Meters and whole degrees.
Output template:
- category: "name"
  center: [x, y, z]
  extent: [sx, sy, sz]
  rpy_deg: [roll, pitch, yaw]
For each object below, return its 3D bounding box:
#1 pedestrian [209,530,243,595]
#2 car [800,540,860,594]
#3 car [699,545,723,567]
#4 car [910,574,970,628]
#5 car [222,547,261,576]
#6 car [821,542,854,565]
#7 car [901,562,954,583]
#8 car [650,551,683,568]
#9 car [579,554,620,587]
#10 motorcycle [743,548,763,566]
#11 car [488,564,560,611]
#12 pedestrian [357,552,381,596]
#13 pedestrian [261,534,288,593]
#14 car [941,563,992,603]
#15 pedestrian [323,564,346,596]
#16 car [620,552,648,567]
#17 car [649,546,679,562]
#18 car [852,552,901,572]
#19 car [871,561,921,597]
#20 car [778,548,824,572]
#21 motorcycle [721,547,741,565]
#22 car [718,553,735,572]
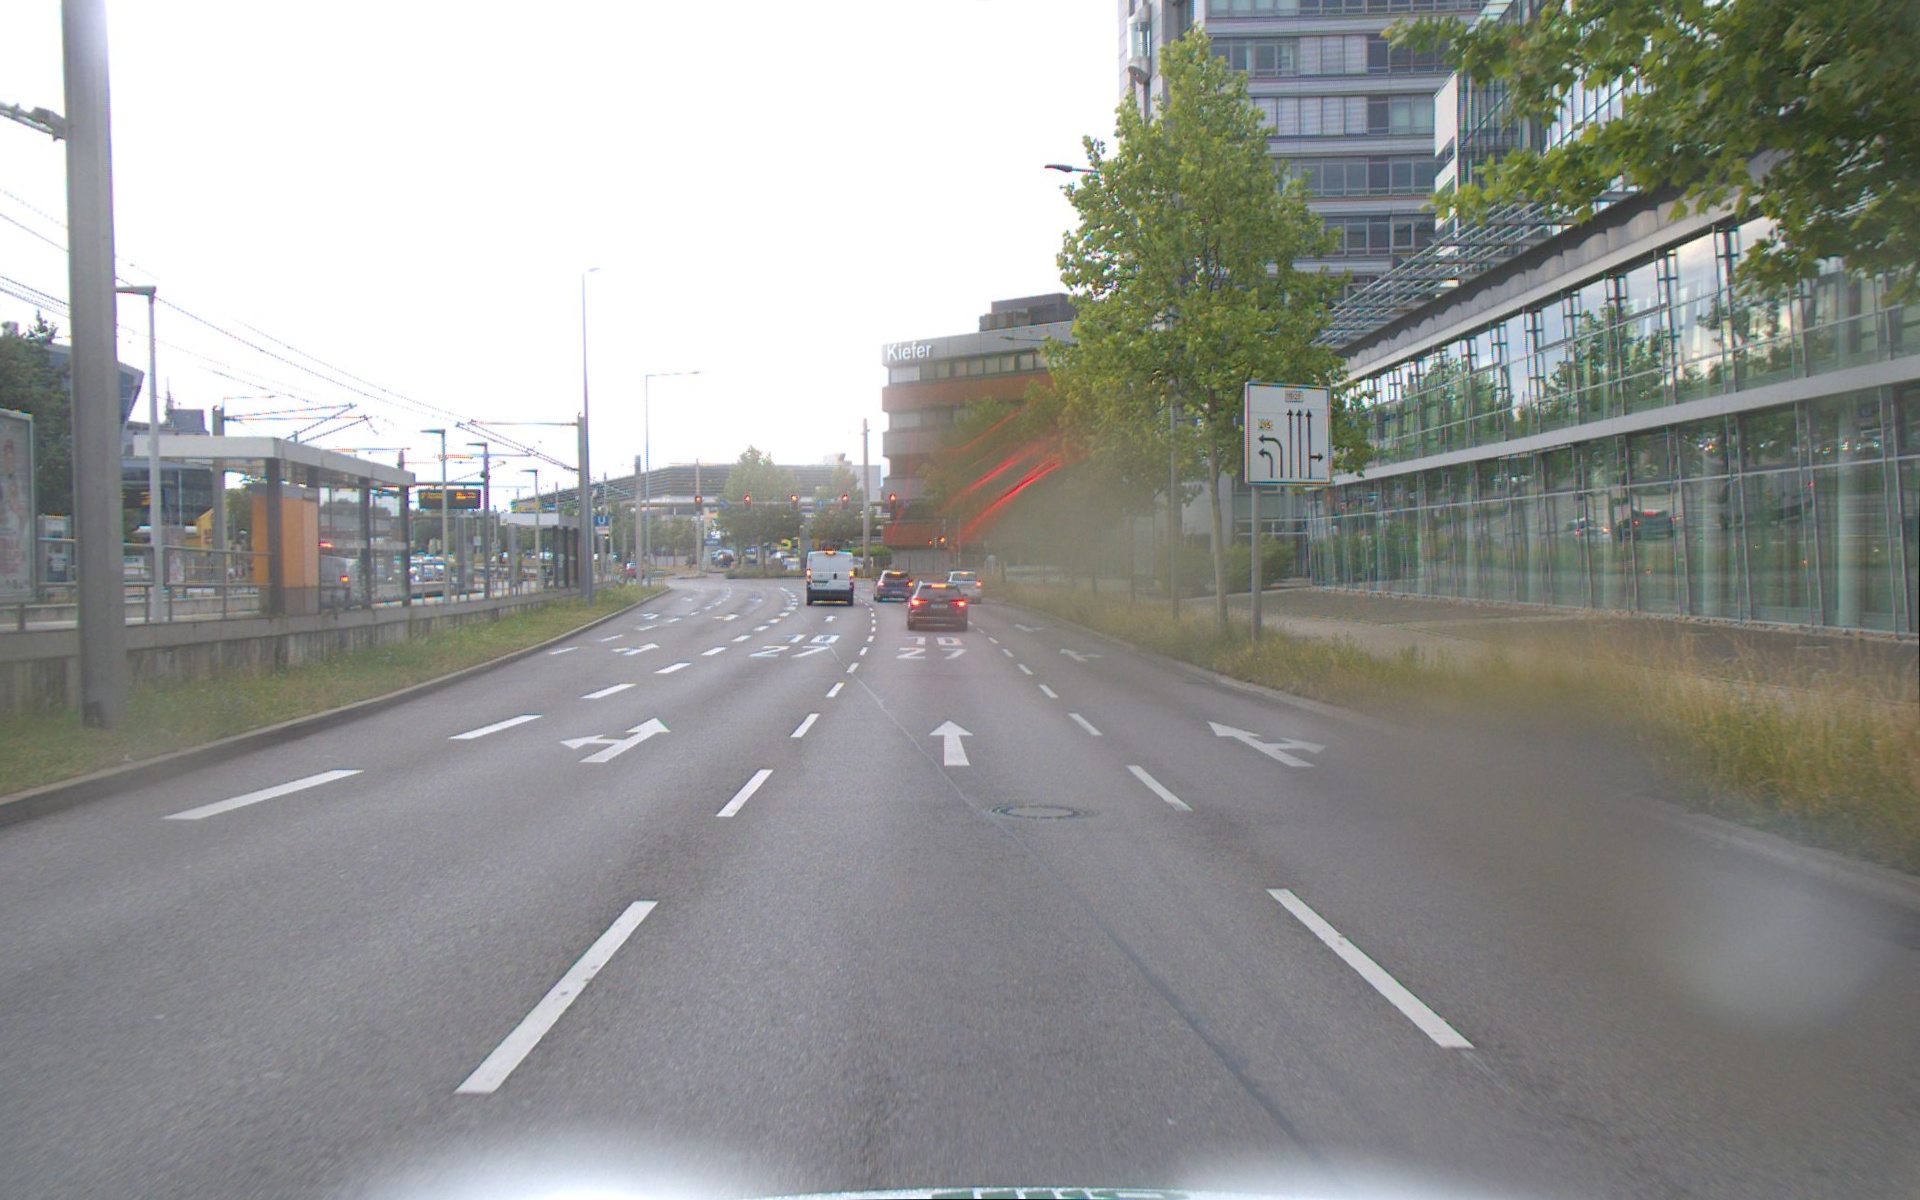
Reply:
- category: "pedestrian"
  center: [-24.158, -1.226, 54.439]
  extent: [0.841, 2.049, 1.036]
  rpy_deg: [1, -2, -16]
- category: "car"
  center: [-5.618, -1.395, 71.642]
  extent: [2.462, 2.215, 5.145]
  rpy_deg: [1, 1, -5]
- category: "car"
  center: [-26.616, -4.708, 176.555]
  extent: [1.962, 2.049, 3.980]
  rpy_deg: [1, -2, -17]
- category: "car"
  center: [-0.572, -0.004, 50.085]
  extent: [1.728, 1.488, 4.627]
  rpy_deg: [1, 1, 0]
- category: "car"
  center: [-57.867, -3.103, 133.132]
  extent: [1.979, 2.049, 3.946]
  rpy_deg: [2, -3, -37]
- category: "car"
  center: [-12.818, -4.848, 172.871]
  extent: [1.973, 2.049, 3.958]
  rpy_deg: [1, -3, -31]
- category: "car"
  center: [-2.676, -2.253, 136.221]
  extent: [4.251, 1.651, 2.014]
  rpy_deg: [1, 0, 44]
- category: "car"
  center: [-39.270, -5.420, 221.324]
  extent: [3.933, 2.049, 1.985]
  rpy_deg: [1, -2, -23]
- category: "car"
  center: [-21.740, -1.788, 99.887]
  extent: [1.955, 1.840, 3.842]
  rpy_deg: [3, 0, -6]
- category: "motorcycle"
  center: [-27.044, -5.658, 216.294]
  extent: [1.961, 2.049, 3.981]
  rpy_deg: [1, -2, -16]
- category: "car"
  center: [-15.661, -0.477, 59.545]
  extent: [1.955, 1.477, 3.844]
  rpy_deg: [1, 3, -6]
- category: "pedestrian"
  center: [-24.546, -1.071, 68.721]
  extent: [0.738, 1.782, 0.763]
  rpy_deg: [1, -2, -6]
- category: "pedestrian"
  center: [-24.565, -1.306, 59.310]
  extent: [0.675, 2.116, 0.714]
  rpy_deg: [0, 1, -2]
- category: "car"
  center: [0.272, -0.821, 77.416]
  extent: [1.982, 1.800, 3.995]
  rpy_deg: [1, 1, -6]
- category: "pedestrian"
  center: [-24.986, -0.793, 66.055]
  extent: [0.713, 1.275, 0.730]
  rpy_deg: [1, -1, -8]
- category: "car"
  center: [-49.827, -6.168, 252.629]
  extent: [3.933, 2.049, 1.985]
  rpy_deg: [1, -2, -23]
- category: "car"
  center: [-42.473, -6.570, 237.503]
  extent: [3.933, 2.049, 1.985]
  rpy_deg: [1, -2, -23]
- category: "car"
  center: [-7.080, -3.205, 140.189]
  extent: [3.931, 1.651, 2.014]
  rpy_deg: [1, 0, 44]
- category: "car"
  center: [-3.044, -0.966, 77.883]
  extent: [1.983, 1.651, 3.993]
  rpy_deg: [1, 0, -8]
- category: "car"
  center: [-14.401, -3.618, 149.572]
  extent: [3.931, 2.049, 1.987]
  rpy_deg: [2, -1, 43]
- category: "motorcycle"
  center: [-29.830, -5.722, 215.074]
  extent: [1.961, 2.049, 3.981]
  rpy_deg: [1, -2, -16]
- category: "car"
  center: [-27.161, -4.352, 192.278]
  extent: [1.785, 2.049, 3.460]
  rpy_deg: [1, -2, -11]
